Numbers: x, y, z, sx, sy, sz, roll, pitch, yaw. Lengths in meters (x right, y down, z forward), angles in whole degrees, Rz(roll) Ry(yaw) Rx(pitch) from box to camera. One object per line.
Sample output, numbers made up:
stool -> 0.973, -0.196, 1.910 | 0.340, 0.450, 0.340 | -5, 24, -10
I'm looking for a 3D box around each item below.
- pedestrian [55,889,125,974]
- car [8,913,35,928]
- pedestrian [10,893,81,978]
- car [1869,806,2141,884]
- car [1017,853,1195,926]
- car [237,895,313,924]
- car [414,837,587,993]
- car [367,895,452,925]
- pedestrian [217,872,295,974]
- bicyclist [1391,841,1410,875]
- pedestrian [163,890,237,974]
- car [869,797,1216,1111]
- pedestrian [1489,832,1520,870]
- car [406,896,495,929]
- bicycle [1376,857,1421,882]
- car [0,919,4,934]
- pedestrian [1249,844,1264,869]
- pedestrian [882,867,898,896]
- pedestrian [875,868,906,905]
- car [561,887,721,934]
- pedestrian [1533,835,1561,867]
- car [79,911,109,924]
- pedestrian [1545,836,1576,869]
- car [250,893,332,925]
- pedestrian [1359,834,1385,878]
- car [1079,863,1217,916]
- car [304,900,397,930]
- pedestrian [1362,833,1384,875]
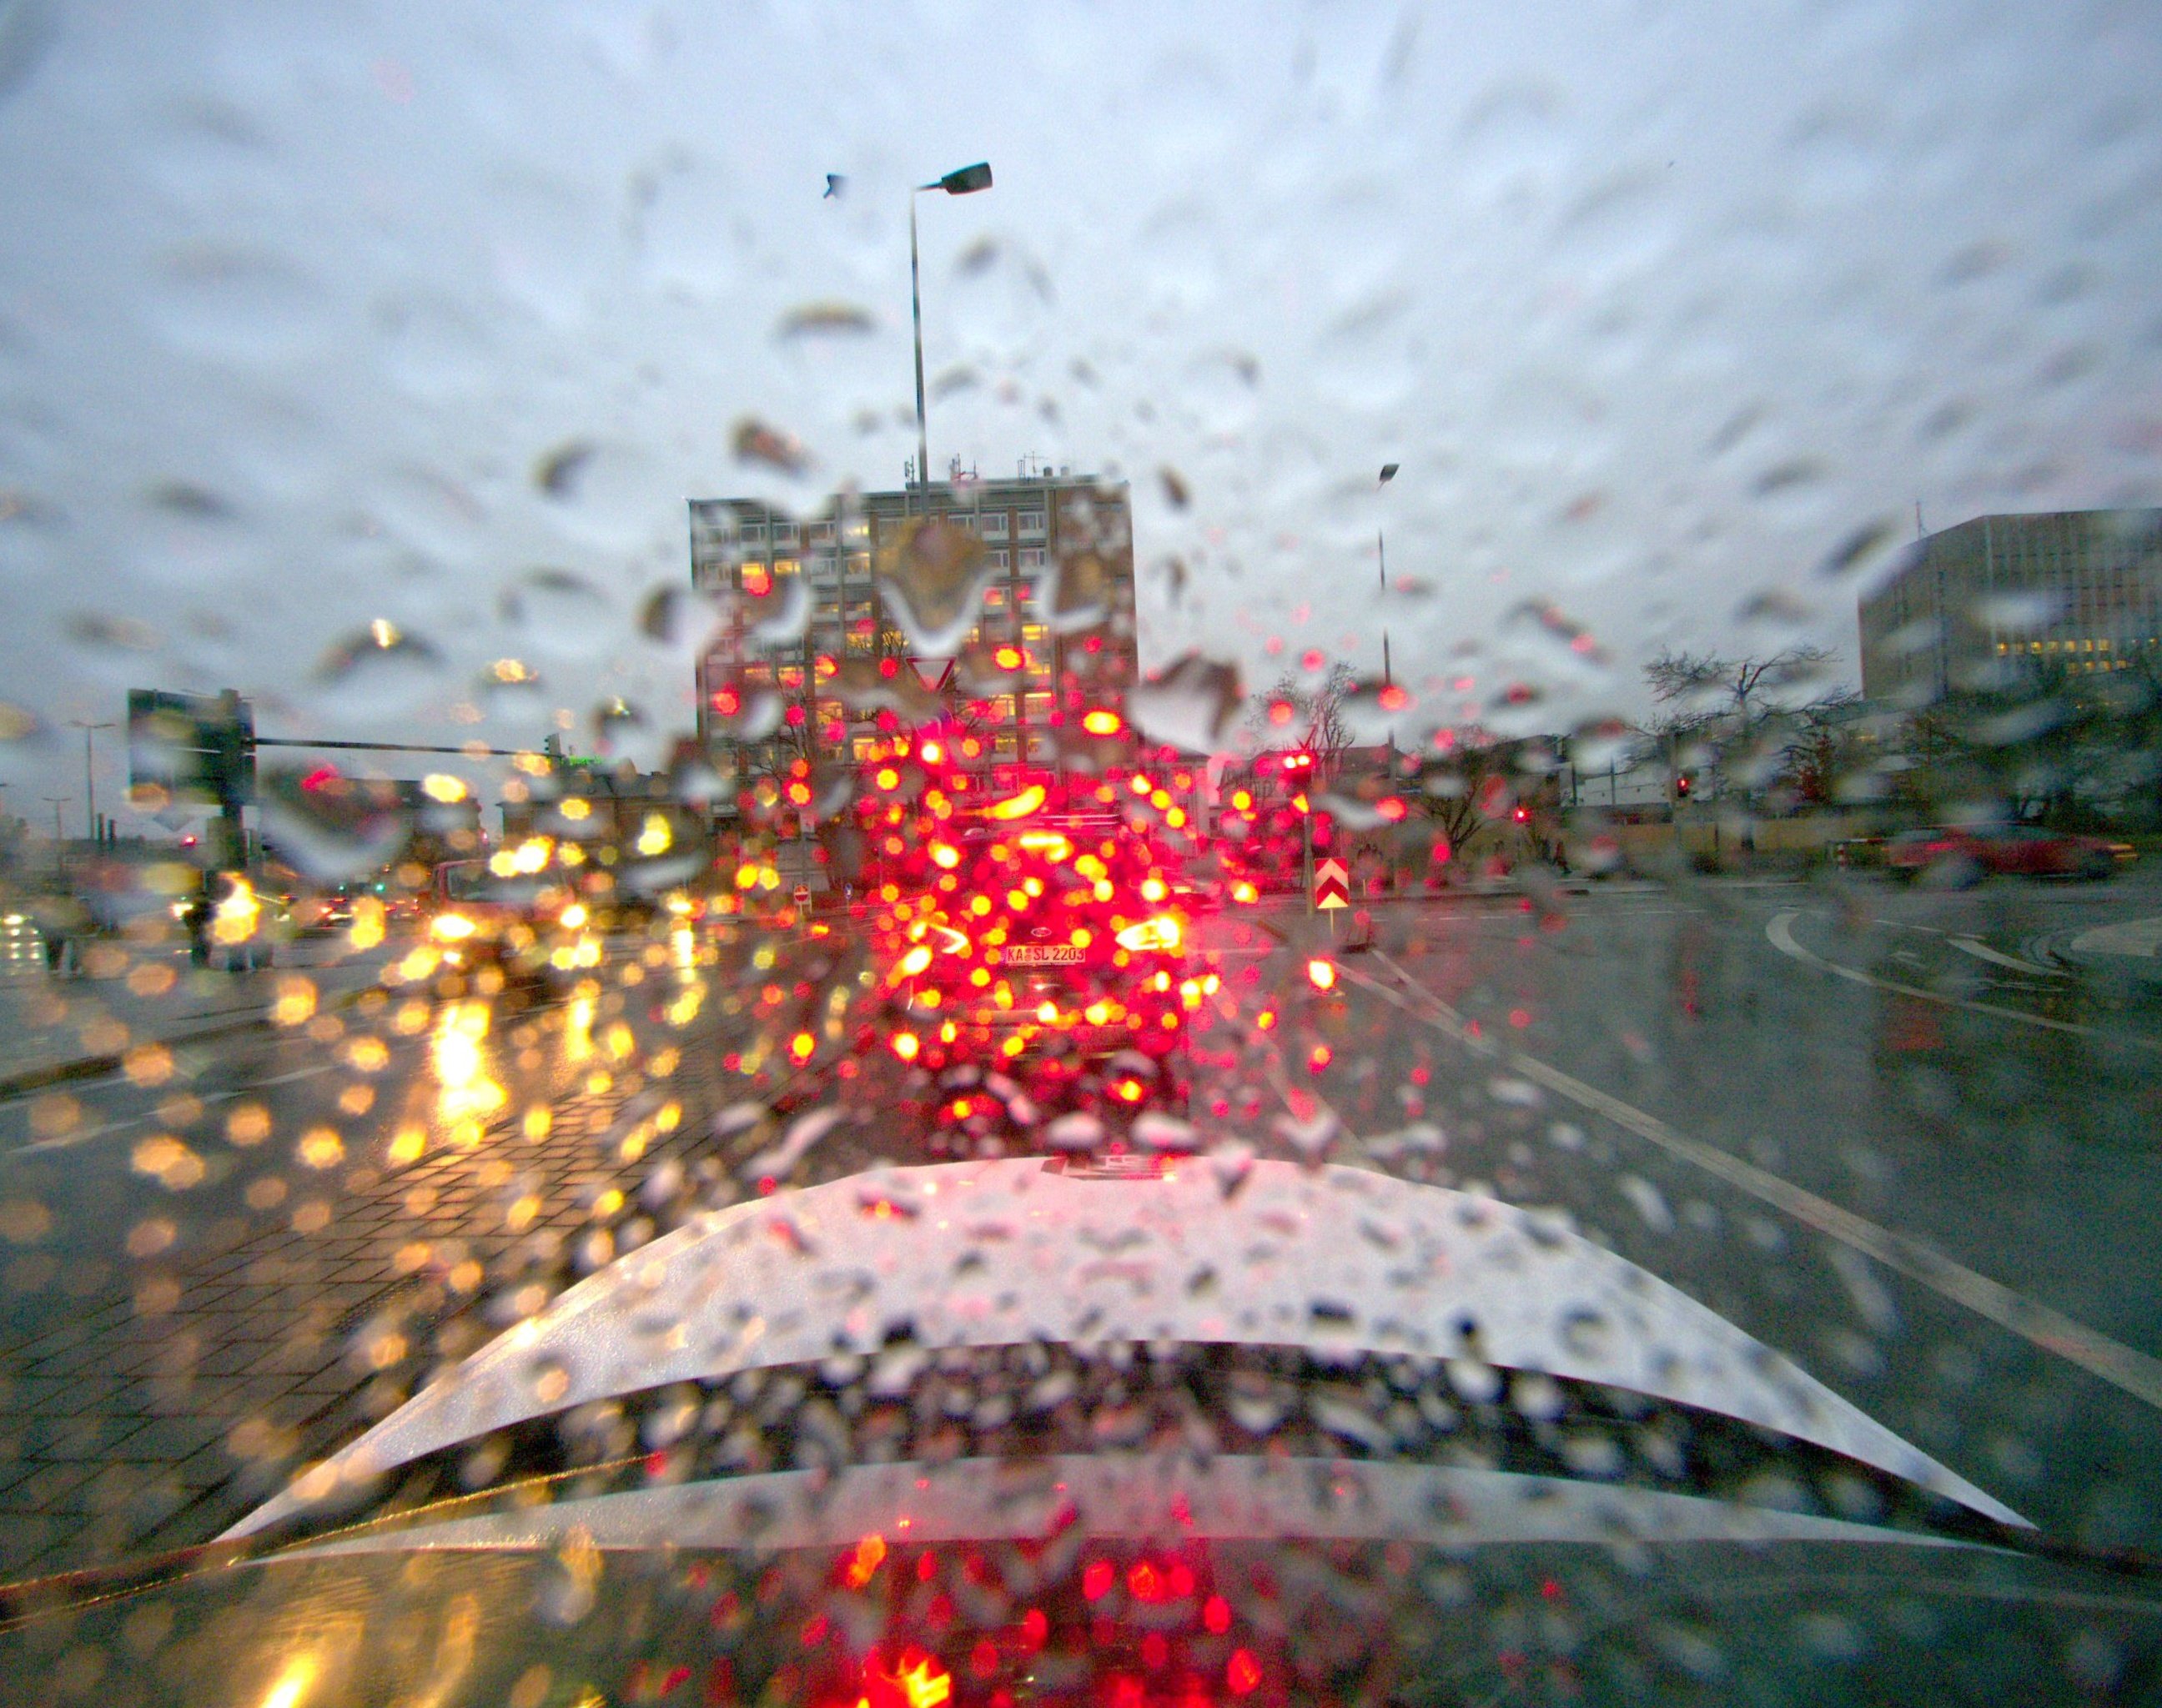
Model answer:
pedestrian -> -22.569, 1.750, 18.559 | 0.669, 1.838, 0.738 | -3, 0, 16
car -> -124.123, 7.797, 95.409 | 3.948, 1.509, 1.750 | -3, 0, 39
pedestrian -> -22.688, 1.780, 17.858 | 0.542, 1.770, 0.746 | -3, 0, 15
car -> 22.255, -0.184, 19.799 | 4.100, 1.582, 1.846 | -3, -1, 8
car -> 0.666, 0.876, 20.473 | 4.094, 1.582, 1.848 | -3, -1, 14
car -> -53.094, 3.626, 53.663 | 1.505, 1.702, 3.411 | -1, -1, 39
car -> -9.687, 0.905, 13.550 | 1.939, 2.070, 4.591 | -3, 0, -38
car -> -38.402, 3.185, 46.619 | 1.496, 1.461, 3.453 | -1, -1, 31
pedestrian -> -17.379, 1.430, 17.176 | 0.996, 2.021, 0.792 | -3, 0, -39
bicyclist -> 15.406, 0.176, 39.273 | 0.680, 1.599, 0.662 | -3, 0, 11
pedestrian -> -19.542, 1.711, 18.074 | 0.653, 1.755, 0.856 | -3, 0, 18
car -> -0.163, 0.592, 6.688 | 1.986, 1.789, 4.001 | 0, -1, 2
pedestrian -> 21.180, -0.145, 40.753 | 0.992, 1.799, 0.920 | -3, 0, 2
car -> -33.328, 3.064, 43.076 | 3.954, 1.568, 1.836 | -1, -1, 20
bicycle -> 15.315, 0.747, 39.298 | 1.871, 1.048, 0.661 | -3, 0, 11
car -> -112.361, 7.524, 83.697 | 3.948, 1.509, 1.797 | -3, 0, 39
pedestrian -> 12.143, 0.159, 56.337 | 0.712, 1.628, 0.767 | -3, 0, 34
pedestrian -> -11.484, 1.676, 49.028 | 0.634, 1.688, 0.640 | -3, 0, 18
pedestrian -> -10.098, 1.724, 43.192 | 0.992, 1.842, 1.146 | -3, 2, 25
car -> -14.852, 1.894, 27.513 | 4.648, 1.302, 1.947 | -3, -1, 16
pedestrian -> 23.320, -0.153, 40.756 | 0.888, 1.533, 0.887 | -3, 0, 6
car -> -135.477, 8.648, 111.766 | 1.747, 1.509, 3.954 | -3, 0, -38
pedestrian -> 23.363, -0.095, 39.677 | 0.919, 1.533, 1.045 | -3, 0, 7
car -> -51.158, 3.542, 52.771 | 1.649, 1.826, 3.609 | -1, -1, 39
pedestrian -> 14.544, 0.085, 40.724 | 0.890, 2.113, 0.886 | -3, 0, 2
car -> 1.965, 1.004, 23.410 | 3.731, 1.302, 1.706 | -3, -1, 10
car -> -43.820, 3.632, 48.918 | 1.582, 1.482, 3.840 | -1, -1, 31
pedestrian -> 14.945, -0.002, 41.697 | 0.887, 2.113, 0.889 | -3, 0, 13
